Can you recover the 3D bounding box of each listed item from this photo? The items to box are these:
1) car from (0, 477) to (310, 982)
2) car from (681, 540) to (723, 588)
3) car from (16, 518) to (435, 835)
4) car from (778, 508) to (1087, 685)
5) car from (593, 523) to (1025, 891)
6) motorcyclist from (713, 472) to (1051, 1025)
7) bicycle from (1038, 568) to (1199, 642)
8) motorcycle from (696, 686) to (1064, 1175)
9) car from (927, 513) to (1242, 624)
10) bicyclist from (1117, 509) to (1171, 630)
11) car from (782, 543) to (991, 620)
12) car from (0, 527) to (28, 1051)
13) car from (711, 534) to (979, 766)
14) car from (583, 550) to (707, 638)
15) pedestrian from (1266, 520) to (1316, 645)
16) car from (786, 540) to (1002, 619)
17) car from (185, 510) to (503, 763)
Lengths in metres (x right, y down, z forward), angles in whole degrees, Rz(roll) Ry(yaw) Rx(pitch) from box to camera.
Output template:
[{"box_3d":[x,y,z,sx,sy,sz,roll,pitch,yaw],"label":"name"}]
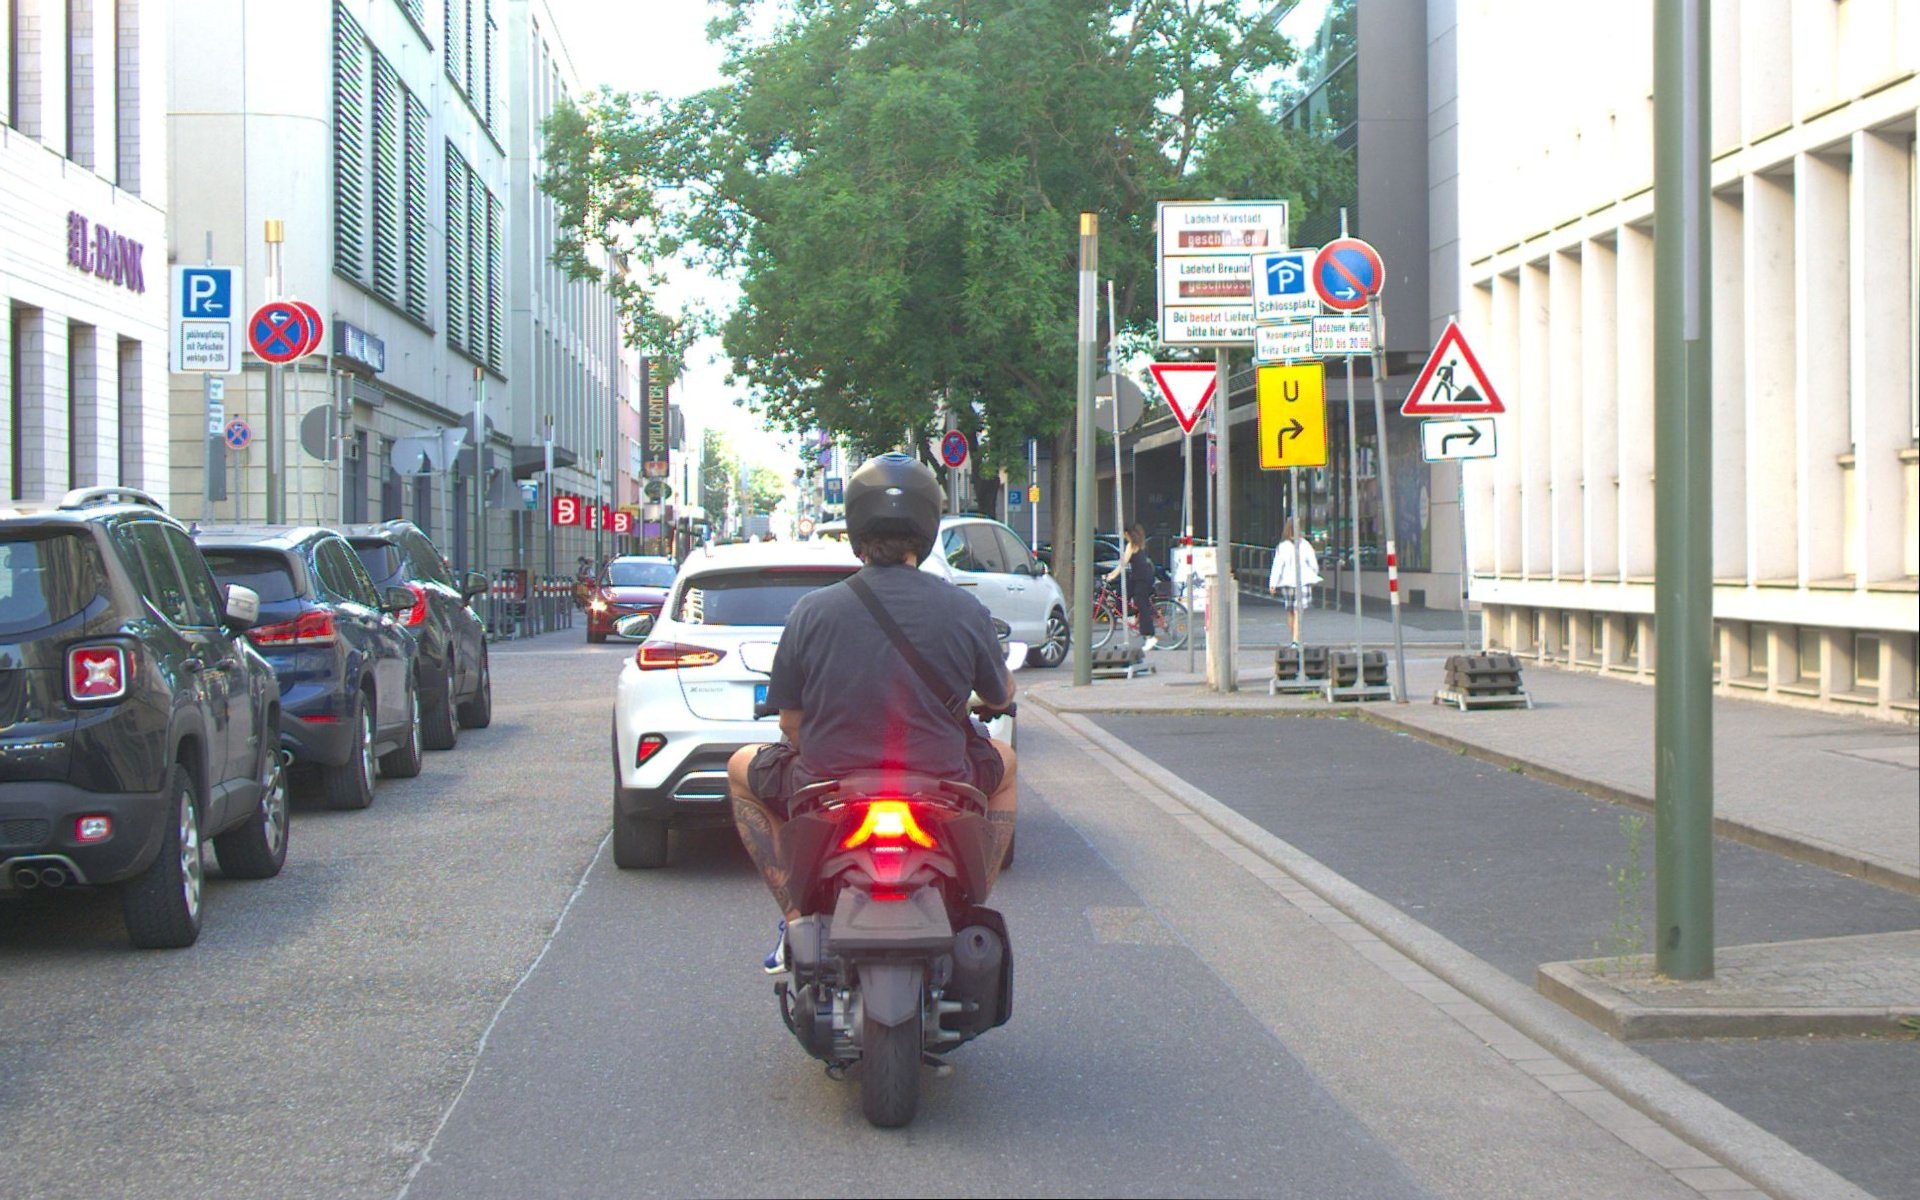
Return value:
[{"box_3d":[-3.816,0.429,13.763,1.822,1.708,4.018,-3,2,-4],"label":"car"},{"box_3d":[-12.829,-1.813,170.799,1.993,2.321,5.022,1,1,-5],"label":"car"},{"box_3d":[-4.194,0.354,20.242,1.739,1.589,4.155,-3,2,-4],"label":"car"},{"box_3d":[-0.212,-0.085,36.912,1.824,1.640,4.490,-2,2,20],"label":"car"},{"box_3d":[-0.777,0.408,16.824,1.822,1.536,4.264,-1,1,-4],"label":"car"},{"box_3d":[-0.208,0.382,9.090,0.867,1.422,0.455,0,0,-2],"label":"motorcyclist"},{"box_3d":[2.132,0.066,46.235,2.103,0.991,0.518,0,0,13],"label":"bicycle"},{"box_3d":[-0.217,0.807,9.088,0.872,1.105,1.840,0,0,-2],"label":"motorcycle"},{"box_3d":[2.063,-0.529,57.864,5.004,1.447,2.000,-5,0,-5],"label":"car"},{"box_3d":[2.470,-0.408,46.155,0.630,1.620,0.497,0,0,15],"label":"bicyclist"},{"box_3d":[-1.852,-0.469,85.506,5.004,1.494,2.000,-5,0,-5],"label":"car"},{"box_3d":[-3.628,0.610,8.292,1.822,1.536,4.264,-1,1,-4],"label":"car"},{"box_3d":[-0.950,0.310,26.535,1.822,1.536,4.365,-3,2,-4],"label":"car"},{"box_3d":[-5.491,-0.077,60.382,1.822,1.460,4.263,-1,-1,-1],"label":"car"},{"box_3d":[4.196,-0.223,43.623,0.559,1.578,0.598,0,0,-1],"label":"pedestrian"},{"box_3d":[-1.612,-0.485,83.042,5.004,1.494,2.000,-5,0,-5],"label":"car"},{"box_3d":[-4.577,0.200,26.120,1.822,1.672,4.264,-3,2,-4],"label":"car"}]
